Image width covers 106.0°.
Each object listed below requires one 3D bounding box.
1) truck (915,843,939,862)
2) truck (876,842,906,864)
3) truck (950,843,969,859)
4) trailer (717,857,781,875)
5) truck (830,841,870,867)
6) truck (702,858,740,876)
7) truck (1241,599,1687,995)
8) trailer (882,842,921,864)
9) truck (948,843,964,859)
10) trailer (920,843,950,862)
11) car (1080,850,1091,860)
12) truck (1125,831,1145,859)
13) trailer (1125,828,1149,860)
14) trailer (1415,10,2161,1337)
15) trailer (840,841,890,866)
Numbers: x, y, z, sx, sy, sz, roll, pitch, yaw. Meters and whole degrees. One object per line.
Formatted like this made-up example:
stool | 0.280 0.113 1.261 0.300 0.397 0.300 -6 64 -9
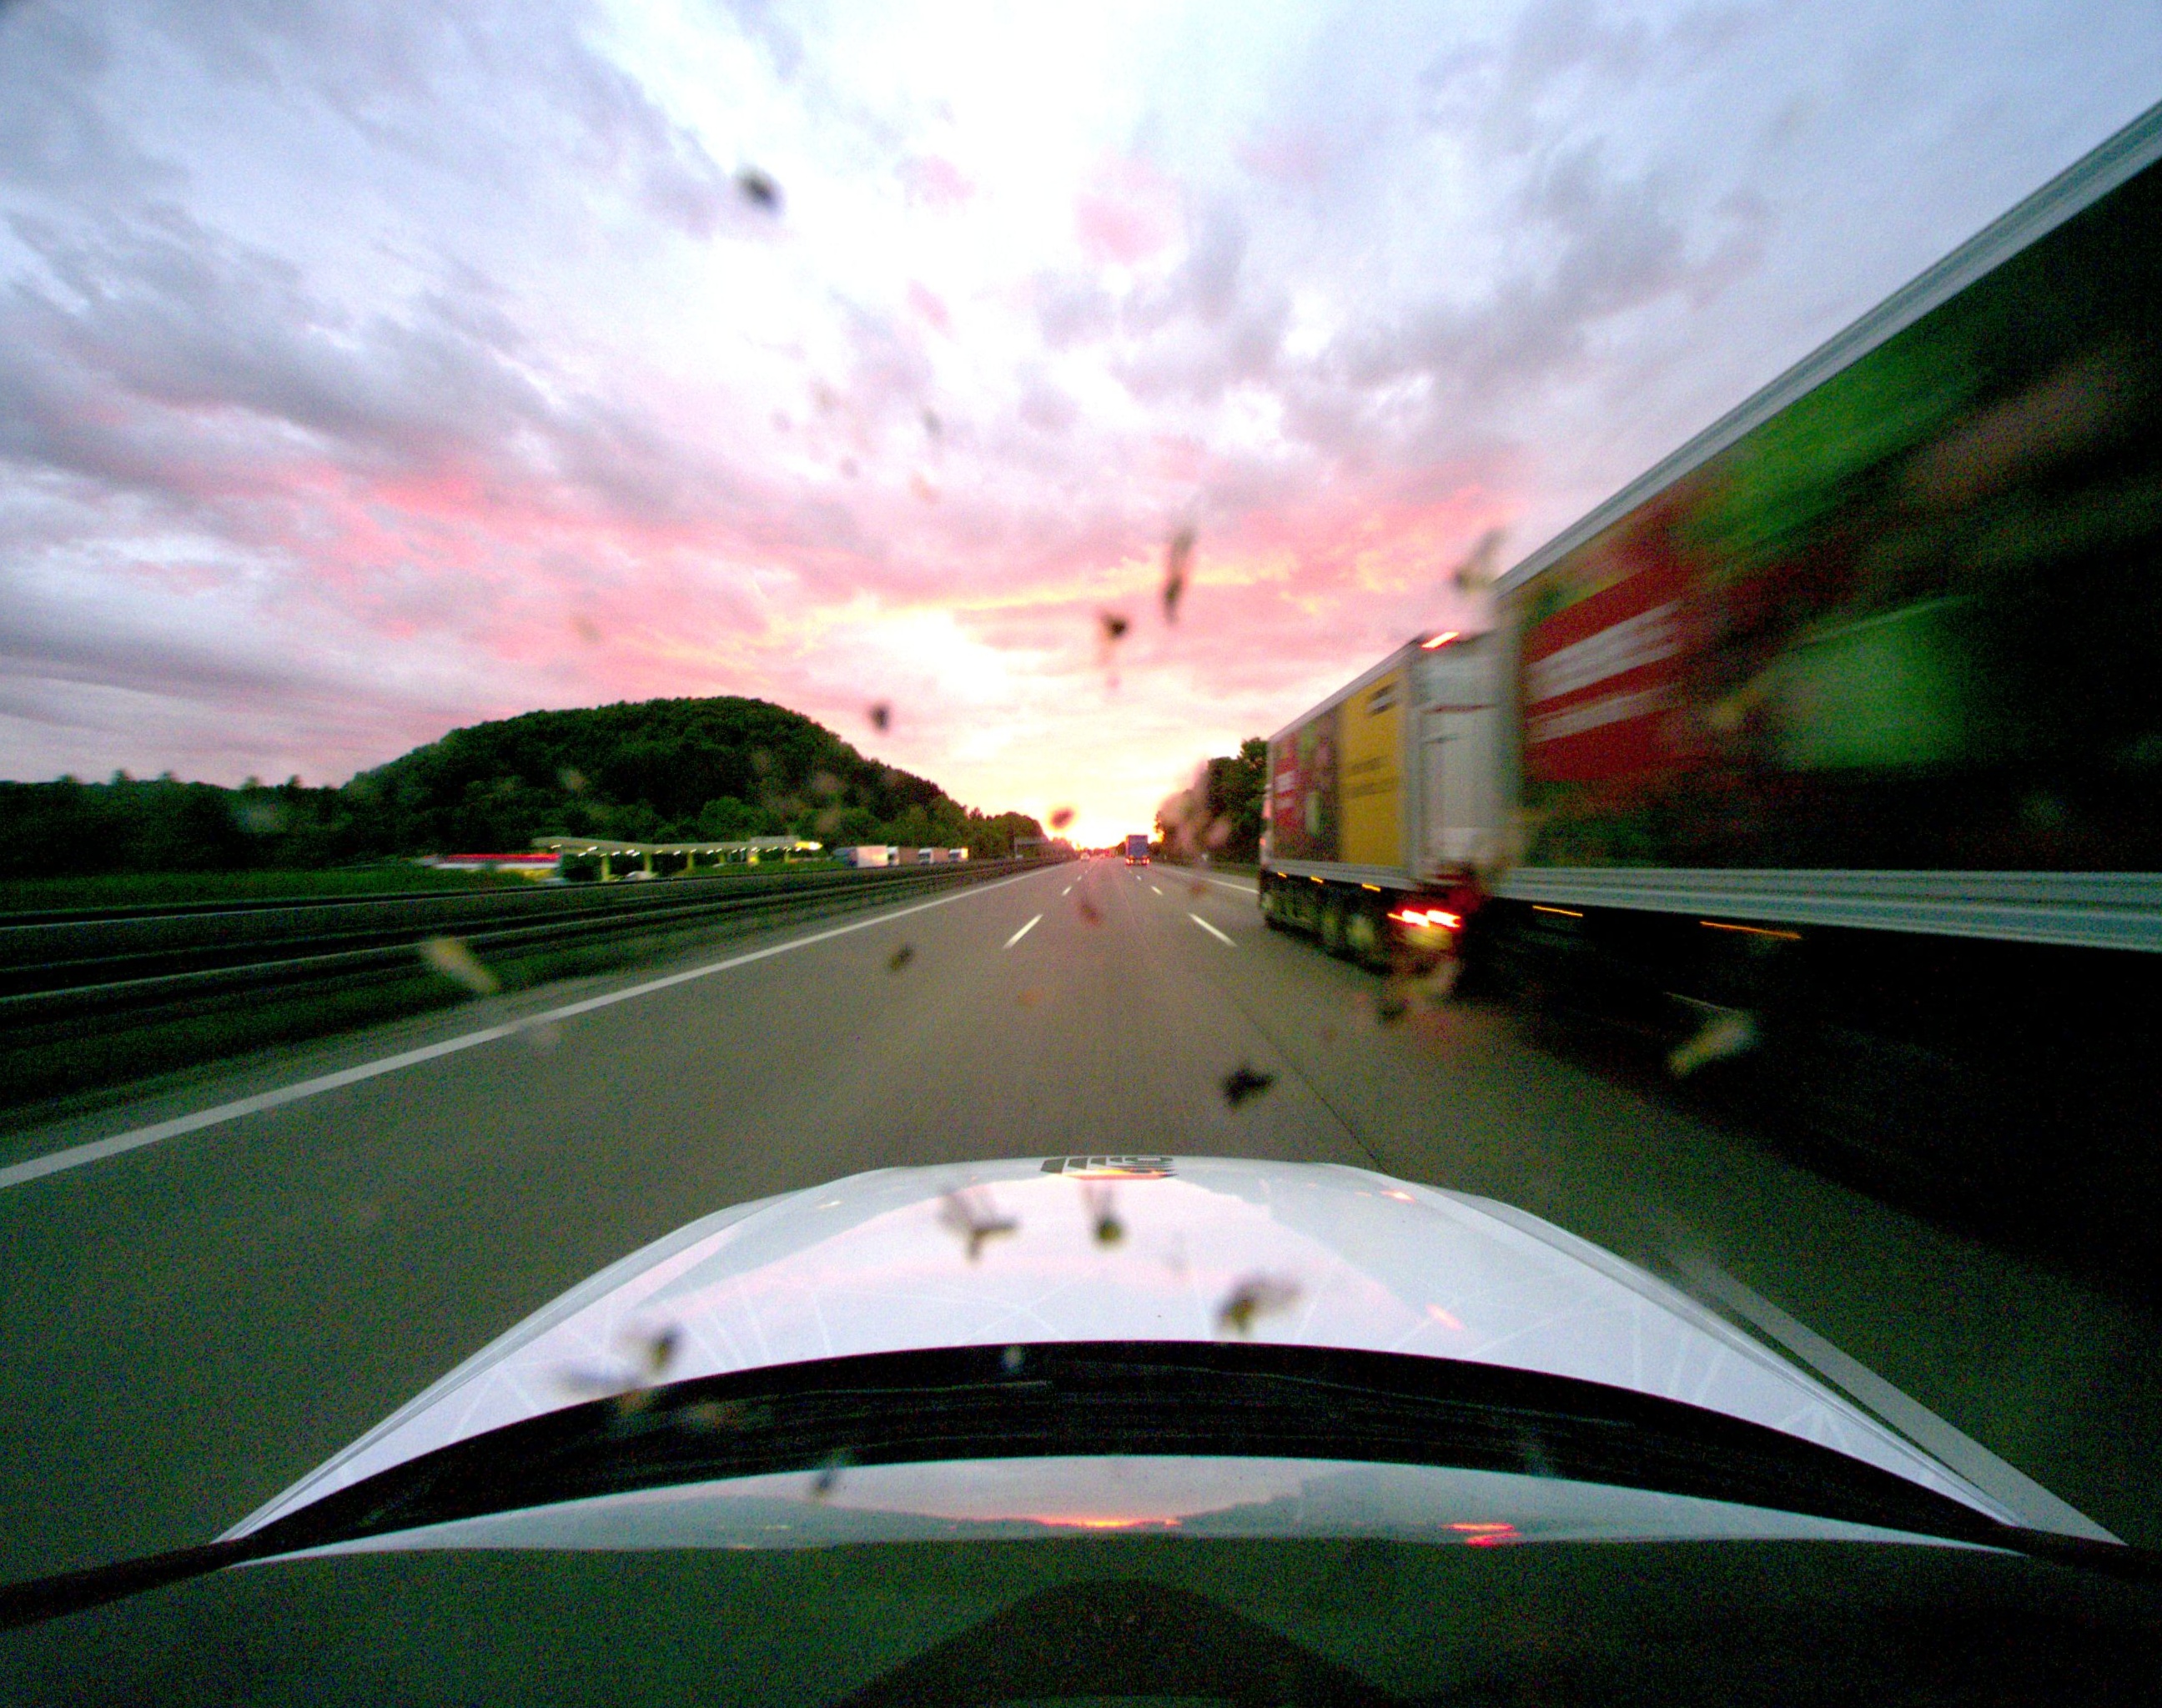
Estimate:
truck | -28.995 -0.274 153.782 2.862 3.424 6.731 -1 0 3
truck | -30.053 -0.192 128.826 2.862 3.424 6.730 -1 0 2
truck | -27.593 -0.714 185.135 2.867 3.424 13.776 -1 0 -3
trailer | -73.655 2.629 181.119 2.903 3.519 13.506 -2 0 35
truck | -30.963 -0.046 109.387 2.861 3.375 7.180 -1 0 3
truck | -77.546 2.763 175.550 2.903 3.519 6.756 -2 0 35
truck | 4.773 -0.556 13.194 2.606 3.827 10.391 -2 0 2
trailer | -29.753 -0.262 135.773 2.862 3.424 13.579 -1 0 2
truck | -27.289 -0.668 178.024 2.866 3.424 6.720 -1 0 -2
trailer | -28.693 -0.333 160.840 2.862 3.424 13.858 -1 0 2
car | 0.958 0.188 167.112 2.006 1.749 3.904 -4 0 1
truck | 7.747 -1.306 117.728 2.726 3.996 5.852 0 0 2
trailer | 7.526 -1.285 111.050 2.761 4.086 13.745 0 0 2
trailer | 4.461 -0.526 3.398 2.607 3.827 8.881 -2 0 1
trailer | -30.614 -0.137 116.225 2.861 3.424 13.234 -1 0 3
